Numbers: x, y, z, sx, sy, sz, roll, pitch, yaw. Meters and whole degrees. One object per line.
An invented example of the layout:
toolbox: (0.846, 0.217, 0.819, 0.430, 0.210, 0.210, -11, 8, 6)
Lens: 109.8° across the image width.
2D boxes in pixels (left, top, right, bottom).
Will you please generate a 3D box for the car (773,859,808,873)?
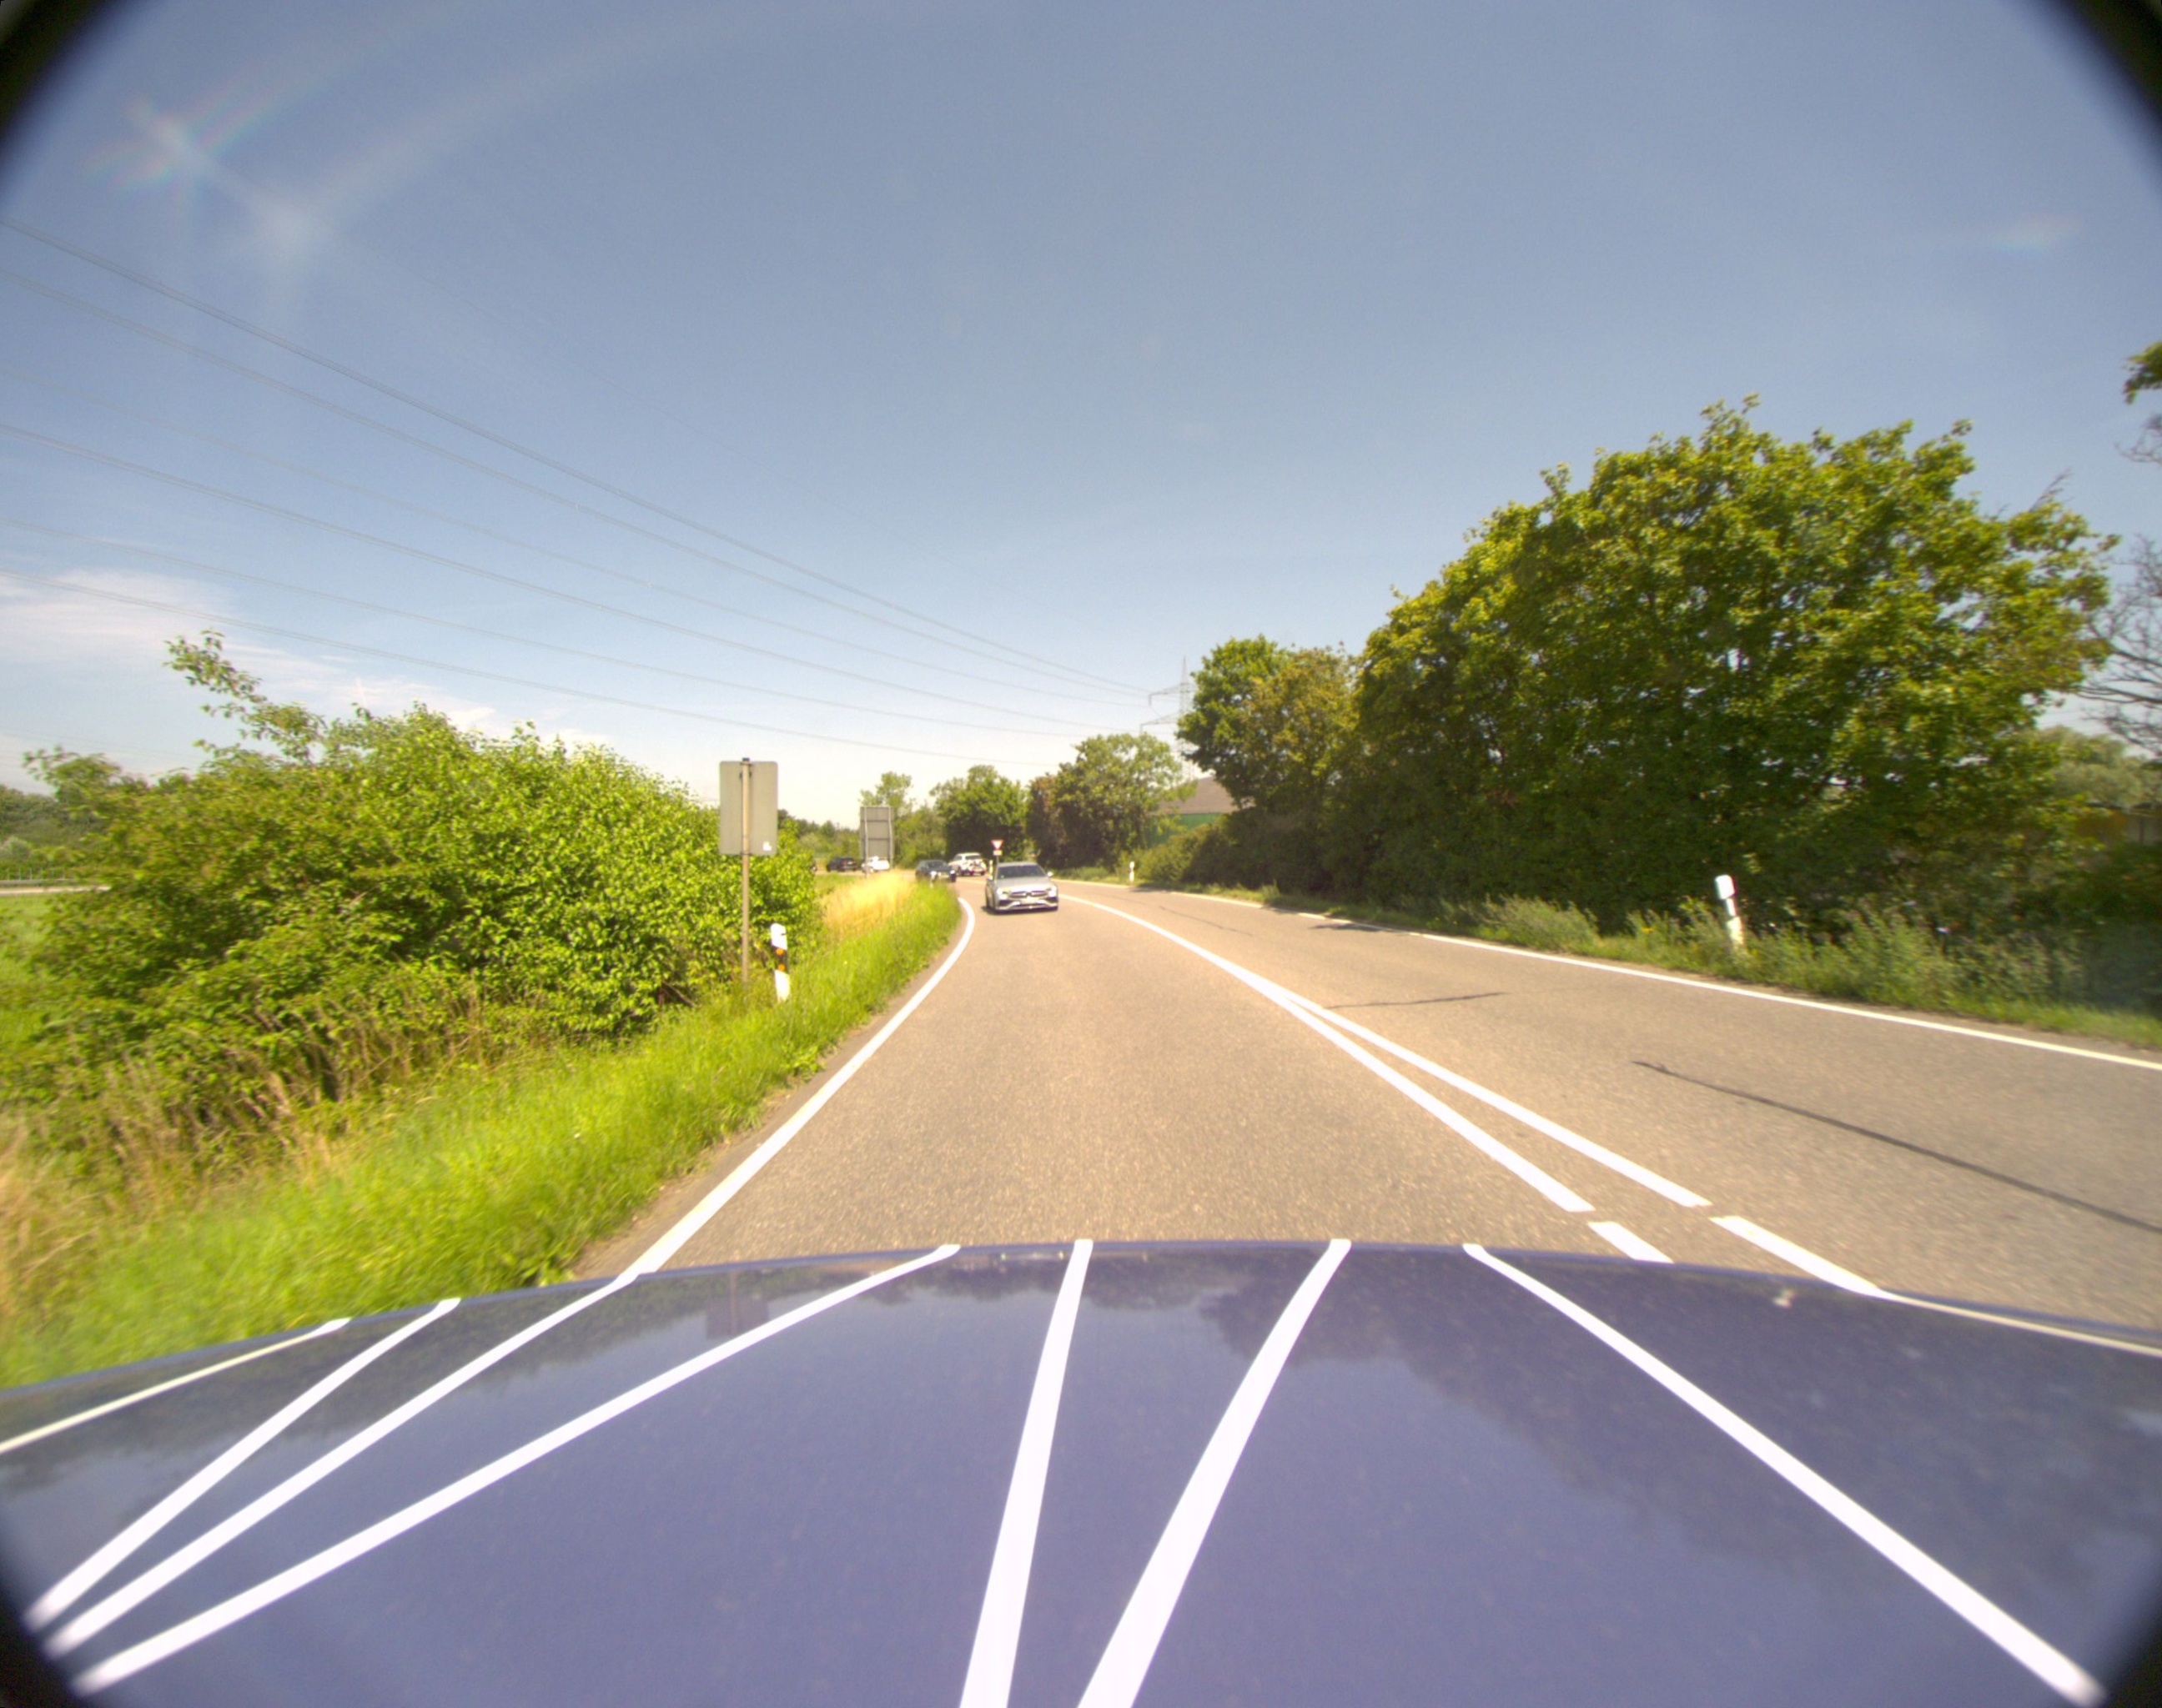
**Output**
car: (-33.932, 1.426, 88.773, 4.795, 1.452, 1.851, 0, 3, 43)

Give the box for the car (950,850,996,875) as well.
car: (-7.842, 0.621, 54.970, 1.863, 1.592, 4.767, -4, 1, -26)

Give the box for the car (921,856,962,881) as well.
car: (-8.776, 0.893, 47.553, 1.827, 1.431, 4.141, -1, 1, -20)

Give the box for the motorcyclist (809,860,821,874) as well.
motorcyclist: (-29.987, 1.484, 85.689, 1.127, 1.487, 0.785, 0, 3, 43)

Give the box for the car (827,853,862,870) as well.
car: (-24.877, 0.799, 79.976, 1.710, 1.629, 4.237, -5, 3, -44)

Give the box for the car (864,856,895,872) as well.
car: (-19.724, 0.944, 74.218, 1.544, 1.435, 3.597, -5, 4, -38)

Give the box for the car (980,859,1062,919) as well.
car: (-1.892, 0.954, 22.804, 1.826, 1.478, 4.144, -4, 1, -12)

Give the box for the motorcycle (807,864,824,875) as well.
motorcycle: (-29.943, 1.708, 85.720, 2.422, 1.117, 0.785, 0, 3, 43)
